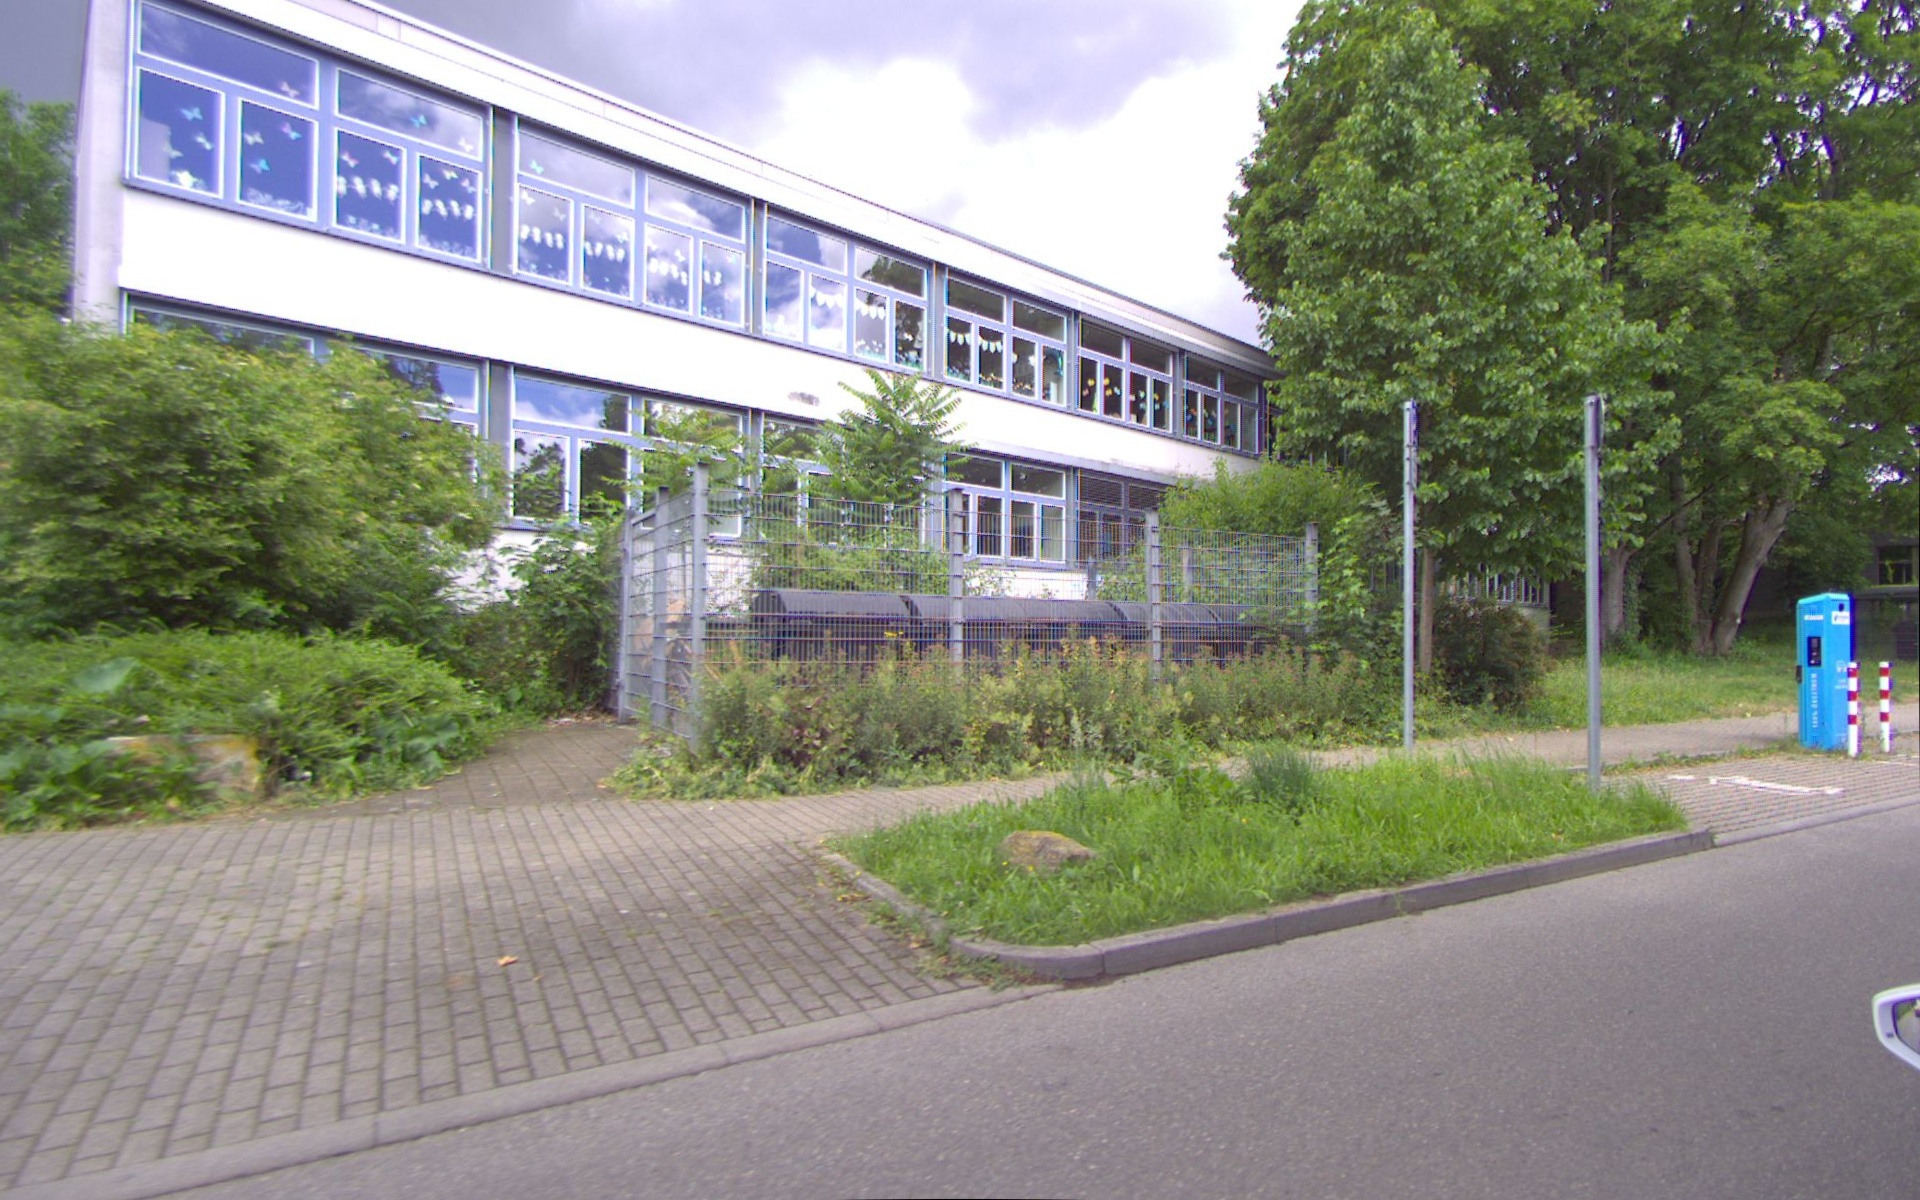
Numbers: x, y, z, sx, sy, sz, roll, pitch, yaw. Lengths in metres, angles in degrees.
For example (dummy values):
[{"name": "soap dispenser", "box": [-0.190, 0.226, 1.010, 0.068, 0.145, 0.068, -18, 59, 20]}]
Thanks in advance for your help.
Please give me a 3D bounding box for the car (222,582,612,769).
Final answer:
[{"name": "car", "box": [-6.462, 0.862, 12.525, 3.937, 2.040, 1.992, 0, -1, -18]}]
